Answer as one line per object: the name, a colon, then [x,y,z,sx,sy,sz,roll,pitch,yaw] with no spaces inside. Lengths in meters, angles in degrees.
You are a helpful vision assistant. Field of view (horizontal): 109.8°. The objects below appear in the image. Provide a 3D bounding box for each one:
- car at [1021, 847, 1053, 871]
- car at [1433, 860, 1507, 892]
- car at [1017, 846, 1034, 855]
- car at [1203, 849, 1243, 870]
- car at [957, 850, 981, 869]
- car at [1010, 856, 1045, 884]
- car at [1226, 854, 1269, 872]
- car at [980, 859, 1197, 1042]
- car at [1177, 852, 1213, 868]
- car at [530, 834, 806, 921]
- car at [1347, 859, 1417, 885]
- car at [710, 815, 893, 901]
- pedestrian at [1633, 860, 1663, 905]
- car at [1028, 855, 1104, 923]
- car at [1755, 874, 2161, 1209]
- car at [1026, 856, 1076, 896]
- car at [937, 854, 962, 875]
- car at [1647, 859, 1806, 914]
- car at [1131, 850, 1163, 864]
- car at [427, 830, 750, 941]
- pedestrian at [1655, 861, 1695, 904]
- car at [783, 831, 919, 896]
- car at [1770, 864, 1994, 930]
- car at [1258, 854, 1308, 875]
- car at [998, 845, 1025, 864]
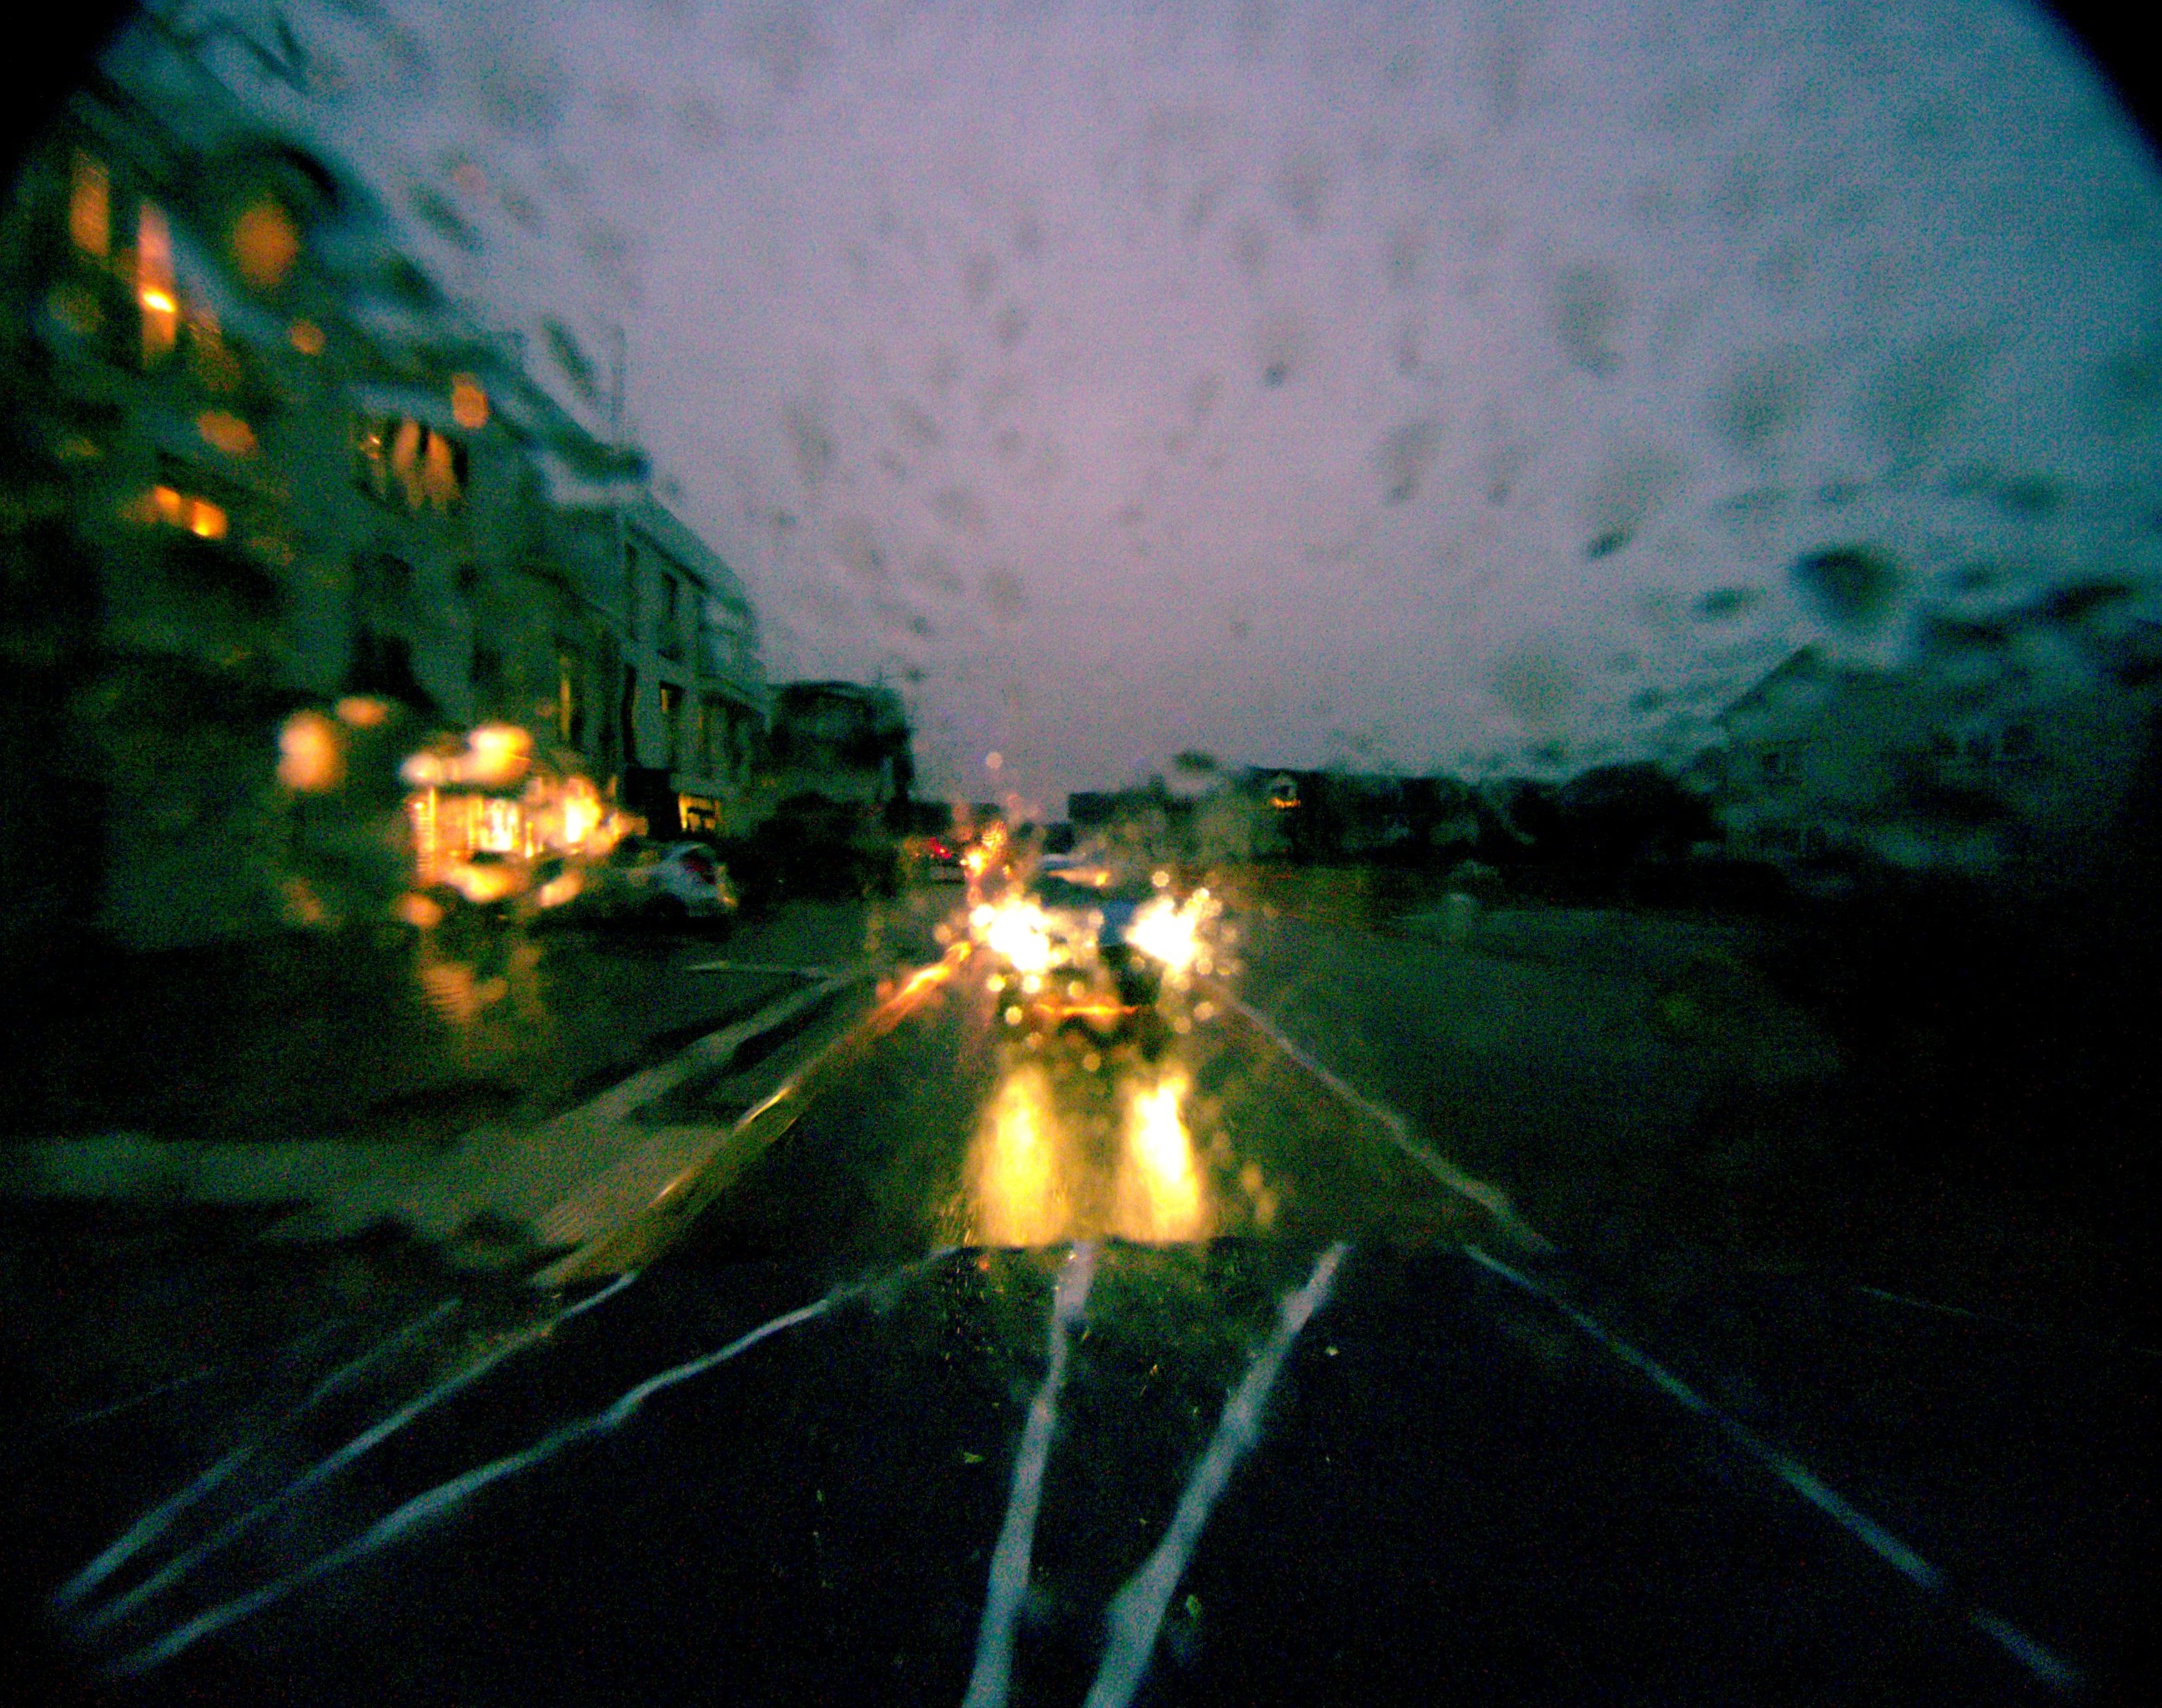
car: [-3.519,0.347,60.164,1.725,1.802,4.130,-1,1,-15]
car: [19.862,1.070,38.902,1.479,1.500,3.499,1,1,-12]
car: [-9.695,-0.598,131.557,1.802,1.460,4.249,0,1,-20]
car: [12.798,0.459,68.798,1.801,1.816,4.251,1,1,-16]
car: [-10.097,0.468,68.171,1.835,1.535,3.710,-1,1,-13]
car: [-3.082,0.862,42.952,1.742,1.434,3.997,-1,1,-7]
car: [14.011,0.725,64.088,1.801,1.460,4.251,1,1,-15]
car: [-0.061,0.857,8.695,1.889,1.569,3.999,-1,0,-4]
car: [11.118,0.553,74.333,1.678,1.460,4.010,2,-1,-19]
car: [-8.276,0.448,15.623,4.522,1.483,1.973,3,1,-6]
car: [18.429,1.066,46.780,1.801,1.460,4.251,1,1,-15]
car: [-8.121,0.132,22.496,4.553,1.922,1.974,6,-1,-5]
pedestrian: [16.716,0.819,22.409,0.512,1.294,0.601,0,1,-39]
car: [-0.494,0.842,19.896,1.682,1.614,3.998,0,0,-6]
car: [5.512,0.862,3.511,1.509,1.403,3.363,-1,1,-10]
car: [-1.272,0.838,30.614,1.573,1.460,3.613,-1,0,-9]
car: [-10.390,0.808,60.295,1.849,1.577,3.766,0,0,-9]
car: [21.990,1.036,26.100,1.704,1.651,3.955,-1,1,-11]
car: [7.406,0.284,85.778,1.802,1.460,4.608,0,1,-19]
car: [-7.816,0.506,12.491,4.002,1.494,1.811,3,0,-12]
pedestrian: [17.615,0.827,22.530,0.693,1.242,0.602,0,1,-6]
car: [-7.834,0.332,26.217,4.153,1.625,1.753,8,-1,-11]
car: [22.471,1.135,21.581,1.780,1.560,4.090,0,1,-8]
car: [15.570,0.794,58.811,1.801,1.460,4.251,1,1,-15]
car: [-7.625,0.032,83.190,2.002,2.002,3.992,-1,1,-21]
